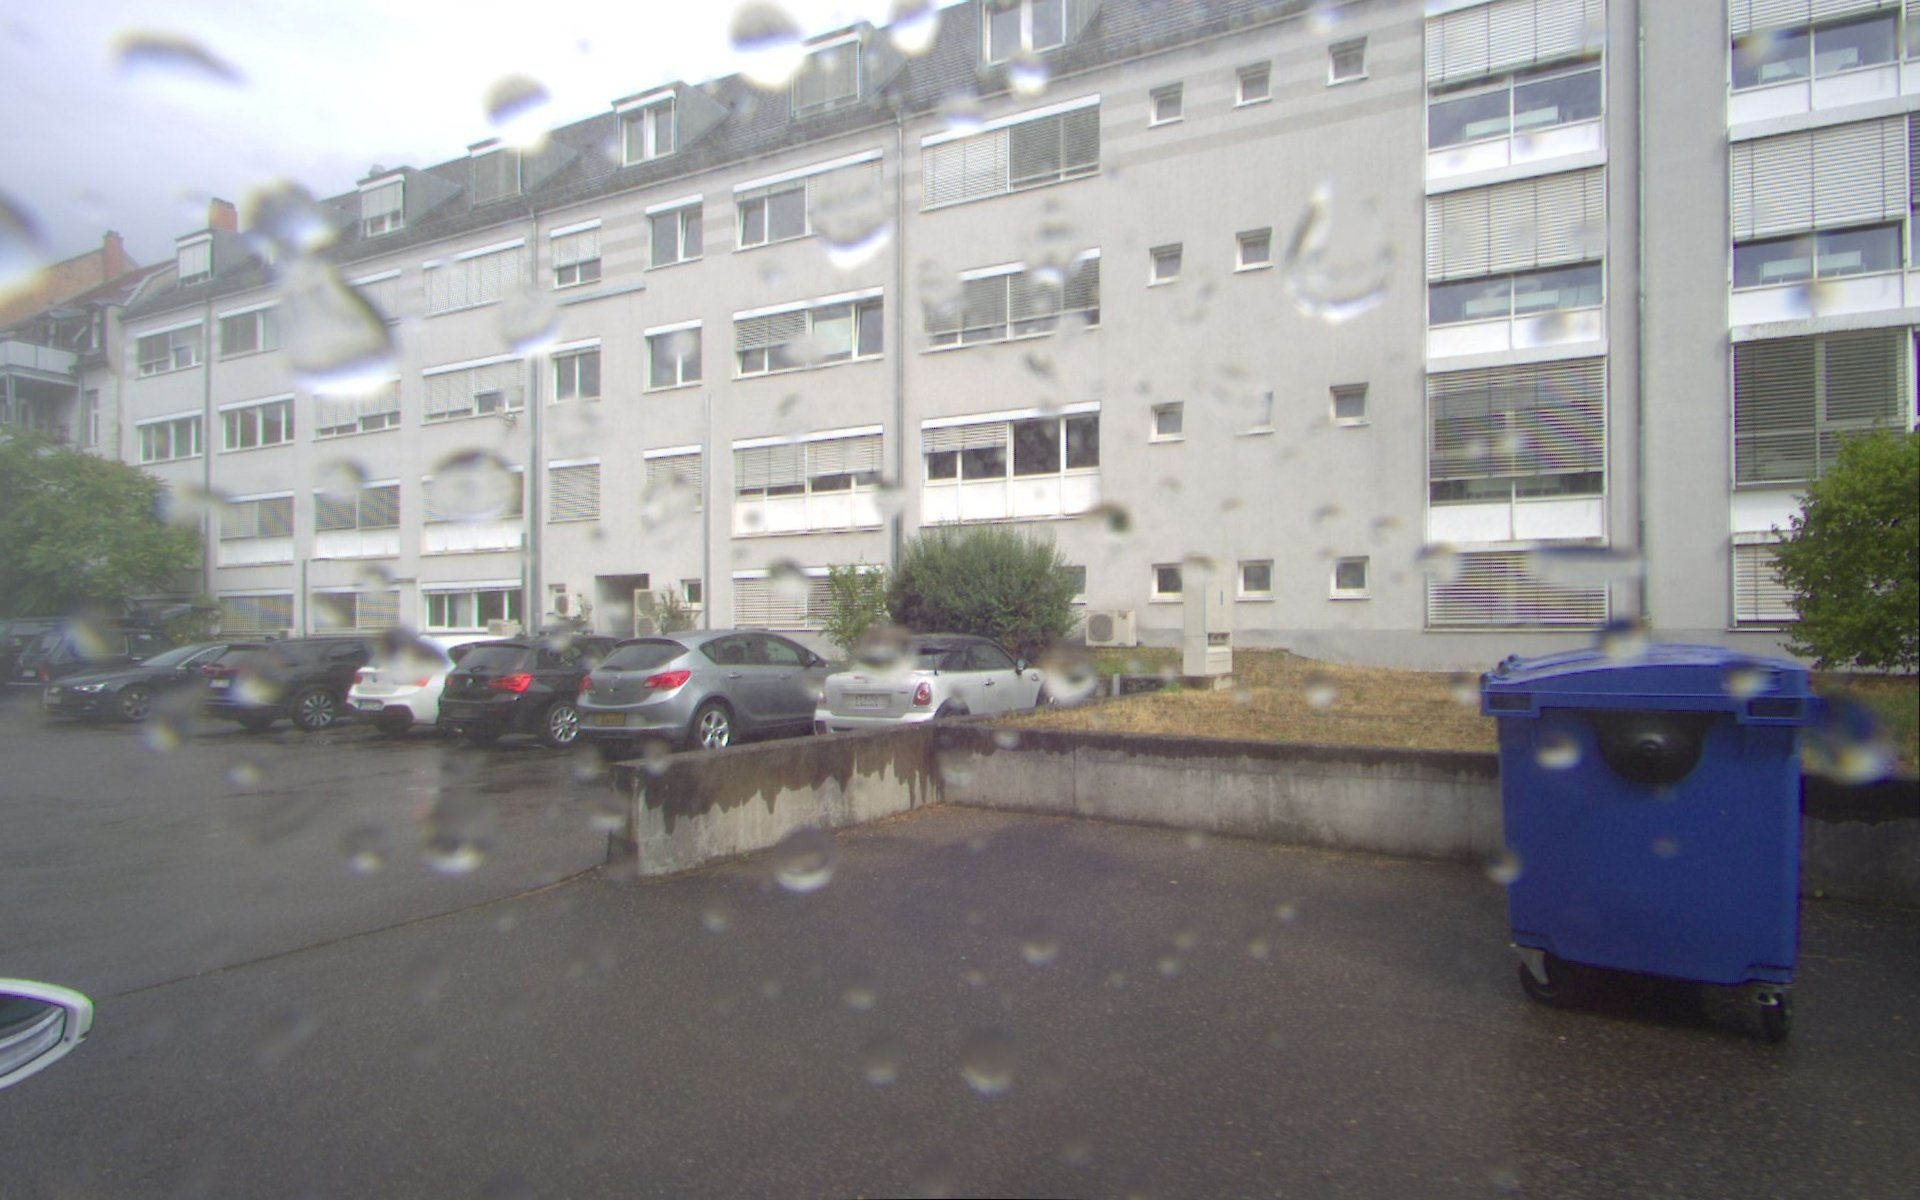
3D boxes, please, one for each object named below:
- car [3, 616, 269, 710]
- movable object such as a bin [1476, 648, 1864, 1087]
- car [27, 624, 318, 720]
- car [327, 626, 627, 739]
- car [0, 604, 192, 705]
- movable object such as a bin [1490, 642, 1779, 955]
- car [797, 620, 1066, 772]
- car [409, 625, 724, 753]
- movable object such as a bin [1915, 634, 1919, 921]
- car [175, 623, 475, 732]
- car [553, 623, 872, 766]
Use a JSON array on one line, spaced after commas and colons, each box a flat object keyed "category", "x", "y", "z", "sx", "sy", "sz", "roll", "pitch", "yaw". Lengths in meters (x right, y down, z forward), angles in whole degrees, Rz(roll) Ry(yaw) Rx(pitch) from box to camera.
[{"category": "car", "x": -16.971, "y": 1.225, "z": 20.832, "sx": 1.790, "sy": 1.709, "sz": 3.904, "roll": -1, "pitch": -1, "yaw": 30}, {"category": "movable object such as a bin", "x": 2.738, "y": 0.874, "z": 3.993, "sx": 1.068, "sy": 1.321, "sz": 1.369, "roll": -1, "pitch": -1, "yaw": 33}, {"category": "car", "x": -14.493, "y": 1.258, "z": 18.684, "sx": 1.724, "sy": 1.533, "sz": 3.907, "roll": -1, "pitch": -1, "yaw": 26}, {"category": "car", "x": -7.310, "y": 1.167, "z": 15.579, "sx": 1.745, "sy": 1.477, "sz": 3.986, "roll": -1, "pitch": -1, "yaw": 26}, {"category": "car", "x": -19.699, "y": 1.102, "z": 21.492, "sx": 2.187, "sy": 2.029, "sz": 4.640, "roll": 0, "pitch": 0, "yaw": 21}, {"category": "movable object such as a bin", "x": 3.383, "y": 0.889, "z": 5.121, "sx": 1.091, "sy": 1.321, "sz": 1.183, "roll": -1, "pitch": -1, "yaw": 32}, {"category": "car", "x": -0.194, "y": 1.003, "z": 11.835, "sx": 1.663, "sy": 1.445, "sz": 3.411, "roll": -1, "pitch": 0, "yaw": 29}, {"category": "car", "x": -5.312, "y": 1.118, "z": 14.082, "sx": 1.745, "sy": 1.421, "sz": 3.985, "roll": 0, "pitch": 0, "yaw": 27}, {"category": "movable object such as a bin", "x": 4.662, "y": 0.818, "z": 3.865, "sx": 1.180, "sy": 1.354, "sz": 1.290, "roll": -1, "pitch": -1, "yaw": 34}, {"category": "car", "x": -10.435, "y": 1.197, "z": 16.790, "sx": 1.790, "sy": 1.533, "sz": 3.910, "roll": -1, "pitch": -1, "yaw": 24}, {"category": "car", "x": -2.969, "y": 1.067, "z": 12.878, "sx": 1.779, "sy": 1.464, "sz": 3.983, "roll": -1, "pitch": -1, "yaw": 28}]
